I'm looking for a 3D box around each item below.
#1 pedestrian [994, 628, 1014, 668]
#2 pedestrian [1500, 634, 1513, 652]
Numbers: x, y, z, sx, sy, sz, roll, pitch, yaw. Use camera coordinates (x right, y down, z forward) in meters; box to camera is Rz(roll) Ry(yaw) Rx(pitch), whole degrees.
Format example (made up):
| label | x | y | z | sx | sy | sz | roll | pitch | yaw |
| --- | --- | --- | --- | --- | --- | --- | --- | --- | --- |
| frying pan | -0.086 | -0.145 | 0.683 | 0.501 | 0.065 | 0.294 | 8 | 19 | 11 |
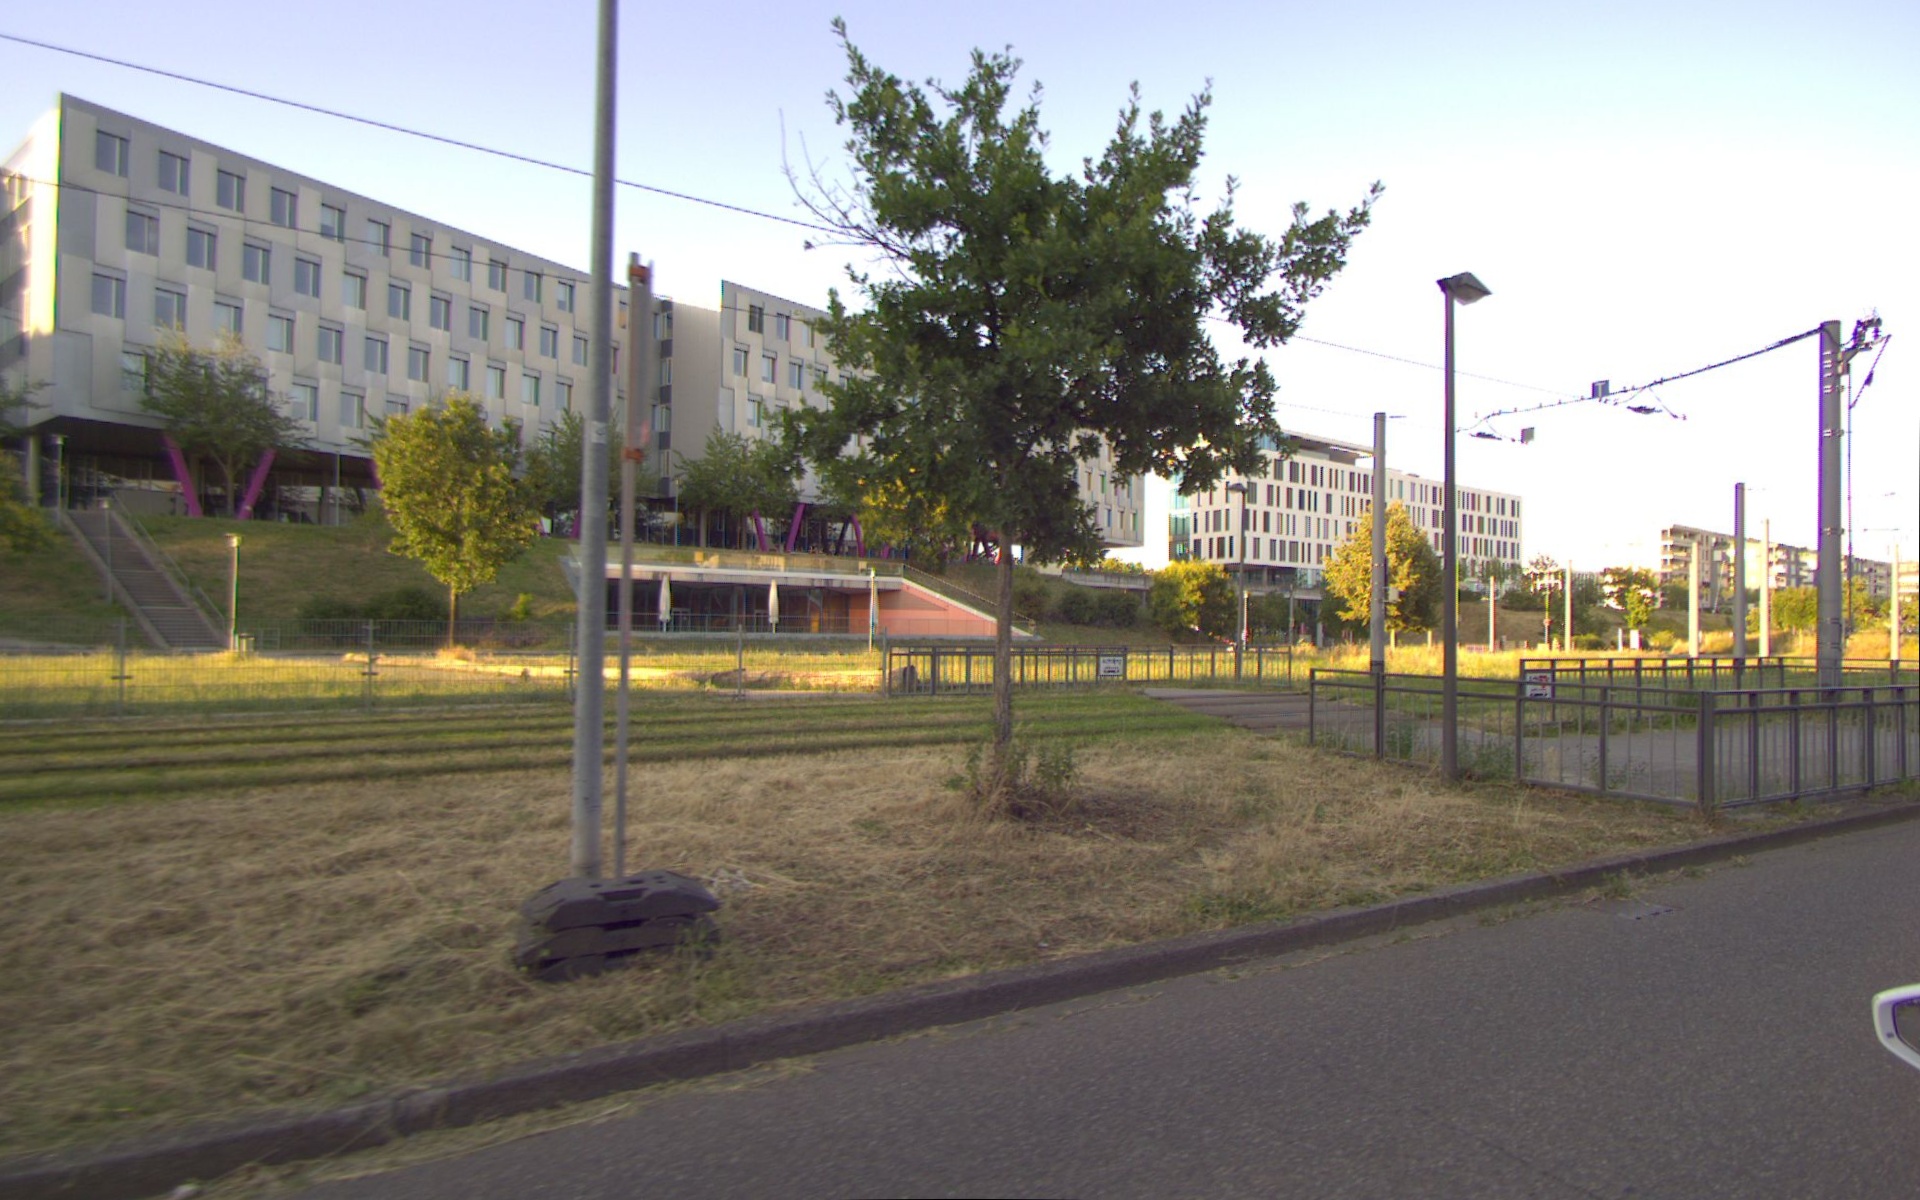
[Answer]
| label | x | y | z | sx | sy | sz | roll | pitch | yaw |
| --- | --- | --- | --- | --- | --- | --- | --- | --- | --- |
| pedestrian | 2.341 | 2.549 | 53.507 | 0.781 | 2.110 | 0.613 | 2 | 0 | -30 |
| pedestrian | 55.051 | 4.369 | 101.193 | 0.803 | 1.810 | 0.784 | 1 | -2 | -26 |
